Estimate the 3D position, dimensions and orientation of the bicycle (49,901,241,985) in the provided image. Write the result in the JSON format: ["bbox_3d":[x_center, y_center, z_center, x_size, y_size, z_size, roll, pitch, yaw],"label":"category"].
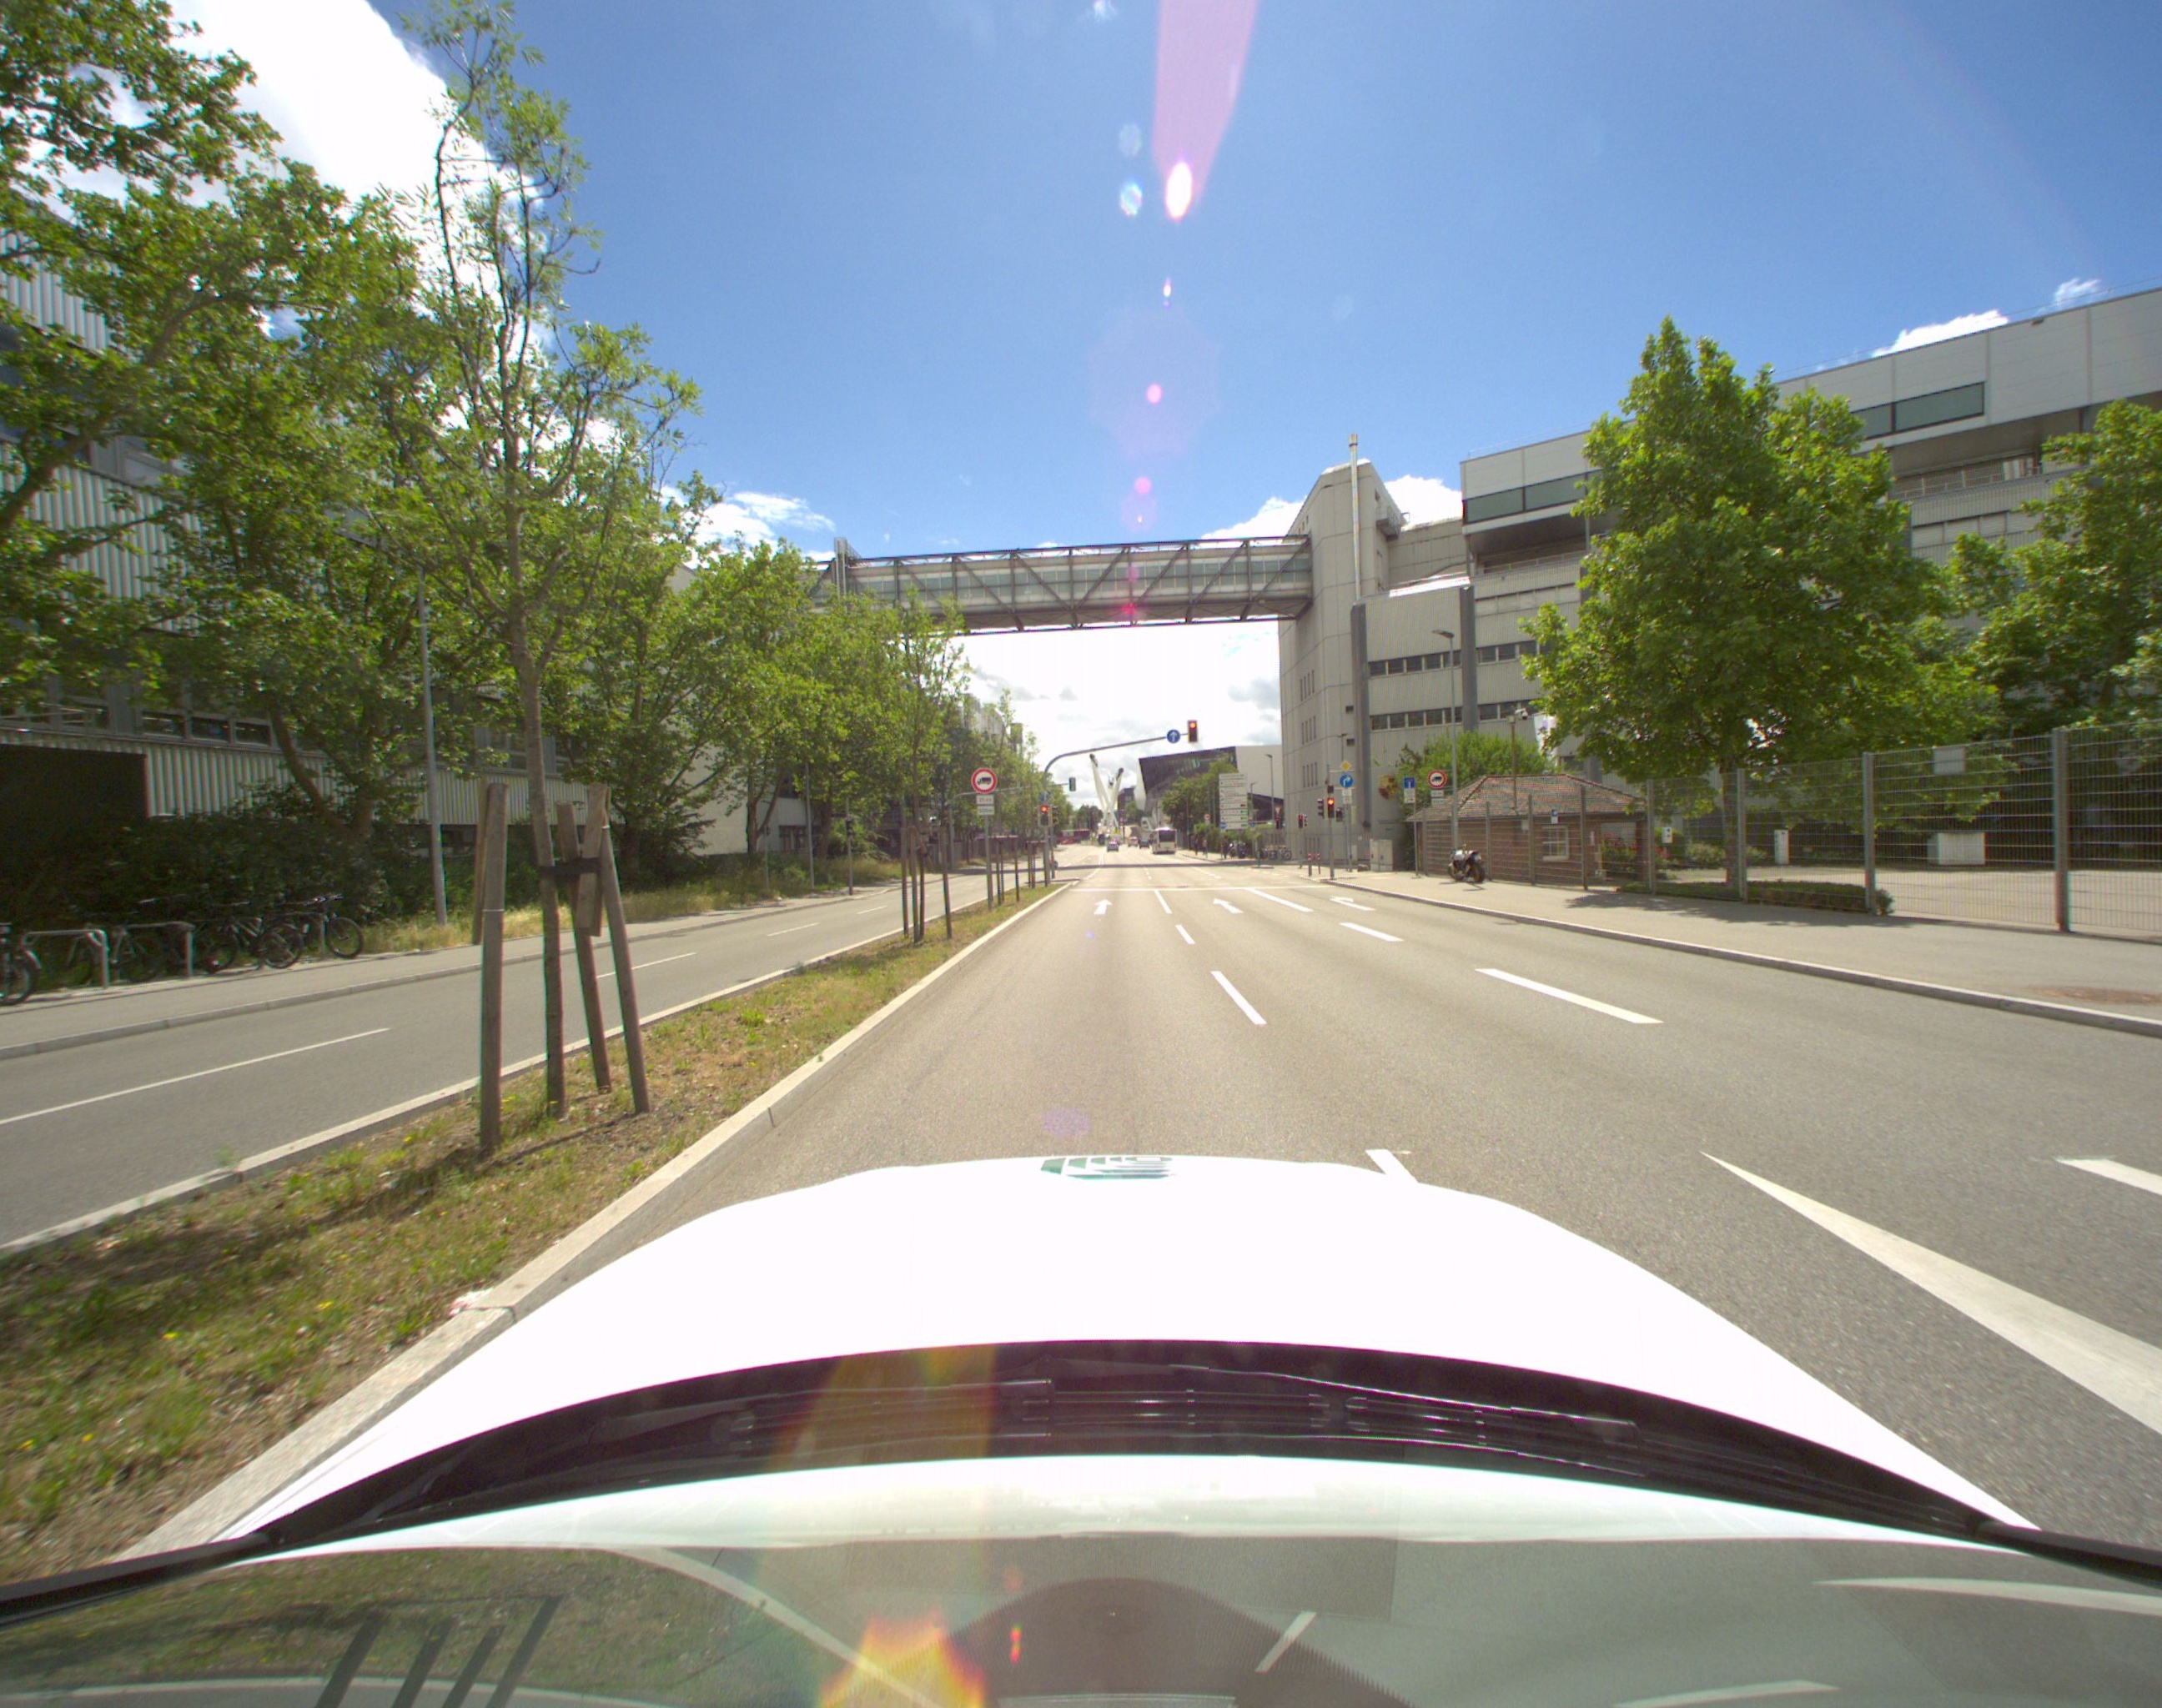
[{"bbox_3d":[-14.164,1.328,12.335,2.548,1.157,0.728,-1,0,11],"label":"bicycle"}]

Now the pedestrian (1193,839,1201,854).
[{"bbox_3d":[12.873,-0.811,90.567,0.817,1.707,0.882,-1,0,3],"label":"pedestrian"}]

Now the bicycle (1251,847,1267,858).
[{"bbox_3d":[14.335,-0.126,65.756,0.398,0.937,1.918,-1,0,-16],"label":"bicycle"}]

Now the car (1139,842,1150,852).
[{"bbox_3d":[11.510,-1.241,148.007,1.731,1.741,3.694,-1,0,3],"label":"car"}]

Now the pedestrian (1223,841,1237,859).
[{"bbox_3d":[13.629,-0.374,74.641,0.839,1.624,0.962,-1,0,44],"label":"pedestrian"}]

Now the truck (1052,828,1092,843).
[{"bbox_3d":[-2.707,-5.605,252.577,12.196,4.324,3.542,0,-1,-28],"label":"truck"}]

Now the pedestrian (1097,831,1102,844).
[{"bbox_3d":[5.124,-4.548,226.356,1.410,3.600,1.284,-1,0,1],"label":"pedestrian"}]

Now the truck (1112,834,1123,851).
[{"bbox_3d":[8.589,-2.613,192.387,2.382,3.897,6.182,-1,0,3],"label":"truck"}]

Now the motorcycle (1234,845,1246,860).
[{"bbox_3d":[13.570,-0.156,69.555,0.703,1.203,2.026,-3,1,3],"label":"motorcycle"}]

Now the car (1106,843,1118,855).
[{"bbox_3d":[4.892,-0.825,127.572,1.731,1.741,3.694,-1,0,3],"label":"car"}]

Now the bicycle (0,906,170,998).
[{"bbox_3d":[-13.978,1.328,11.241,2.548,1.157,0.646,-1,0,11],"label":"bicycle"}]

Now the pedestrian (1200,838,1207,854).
[{"bbox_3d":[13.530,-0.867,89.832,0.633,1.741,0.822,-1,0,-3],"label":"pedestrian"}]

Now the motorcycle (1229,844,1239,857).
[{"bbox_3d":[14.538,-0.335,77.419,0.572,1.203,2.026,-3,1,3],"label":"motorcycle"}]

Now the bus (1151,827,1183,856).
[{"bbox_3d":[11.303,-1.657,108.005,3.439,3.543,10.611,-1,0,2],"label":"bus"}]

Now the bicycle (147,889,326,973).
[{"bbox_3d":[-13.705,1.243,13.237,2.394,1.258,0.556,-1,0,3],"label":"bicycle"}]

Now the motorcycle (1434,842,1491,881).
[{"bbox_3d":[11.984,0.225,25.669,0.691,1.158,2.146,-3,0,-2],"label":"motorcycle"}]

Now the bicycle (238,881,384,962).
[{"bbox_3d":[-13.617,1.183,14.420,2.157,1.363,0.490,-1,0,3],"label":"bicycle"}]

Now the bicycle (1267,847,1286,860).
[{"bbox_3d":[15.237,-0.036,63.426,0.399,0.937,1.914,-1,0,-23],"label":"bicycle"}]

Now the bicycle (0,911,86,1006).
[{"bbox_3d":[-14.199,1.342,10.431,2.548,1.096,0.698,-2,0,11],"label":"bicycle"}]

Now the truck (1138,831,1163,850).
[{"bbox_3d":[16.790,-3.148,196.320,3.423,4.391,9.468,-1,0,20],"label":"truck"}]

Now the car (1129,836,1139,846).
[{"bbox_3d":[11.306,-2.851,173.334,1.987,2.014,3.999,0,-1,0],"label":"car"}]
